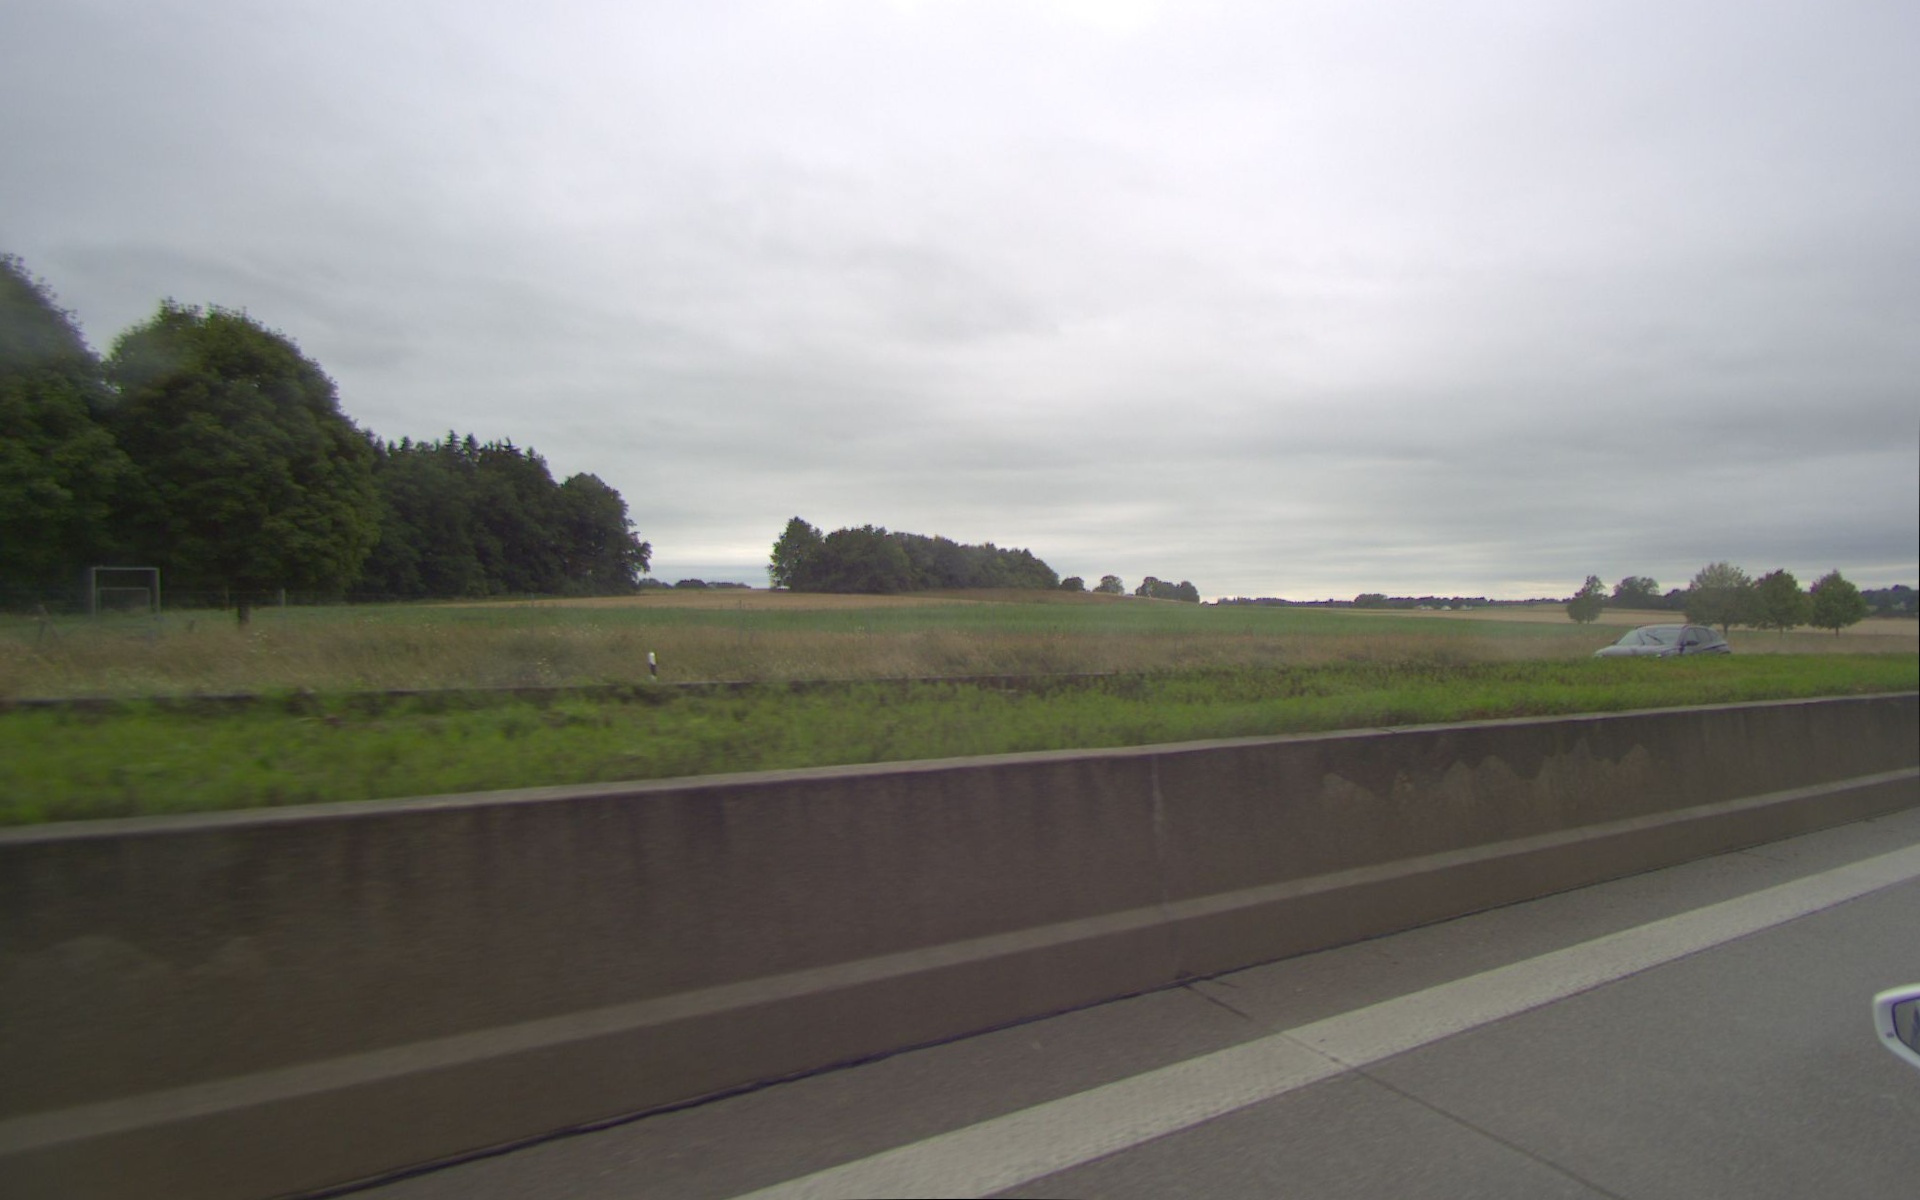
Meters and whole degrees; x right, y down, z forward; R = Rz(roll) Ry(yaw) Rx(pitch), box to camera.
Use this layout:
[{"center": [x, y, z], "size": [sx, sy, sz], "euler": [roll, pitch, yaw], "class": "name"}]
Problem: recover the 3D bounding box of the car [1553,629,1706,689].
[{"center": [17.282, 1.458, 25.851], "size": [4.573, 1.405, 1.593], "euler": [1, -1, -33], "class": "car"}]
